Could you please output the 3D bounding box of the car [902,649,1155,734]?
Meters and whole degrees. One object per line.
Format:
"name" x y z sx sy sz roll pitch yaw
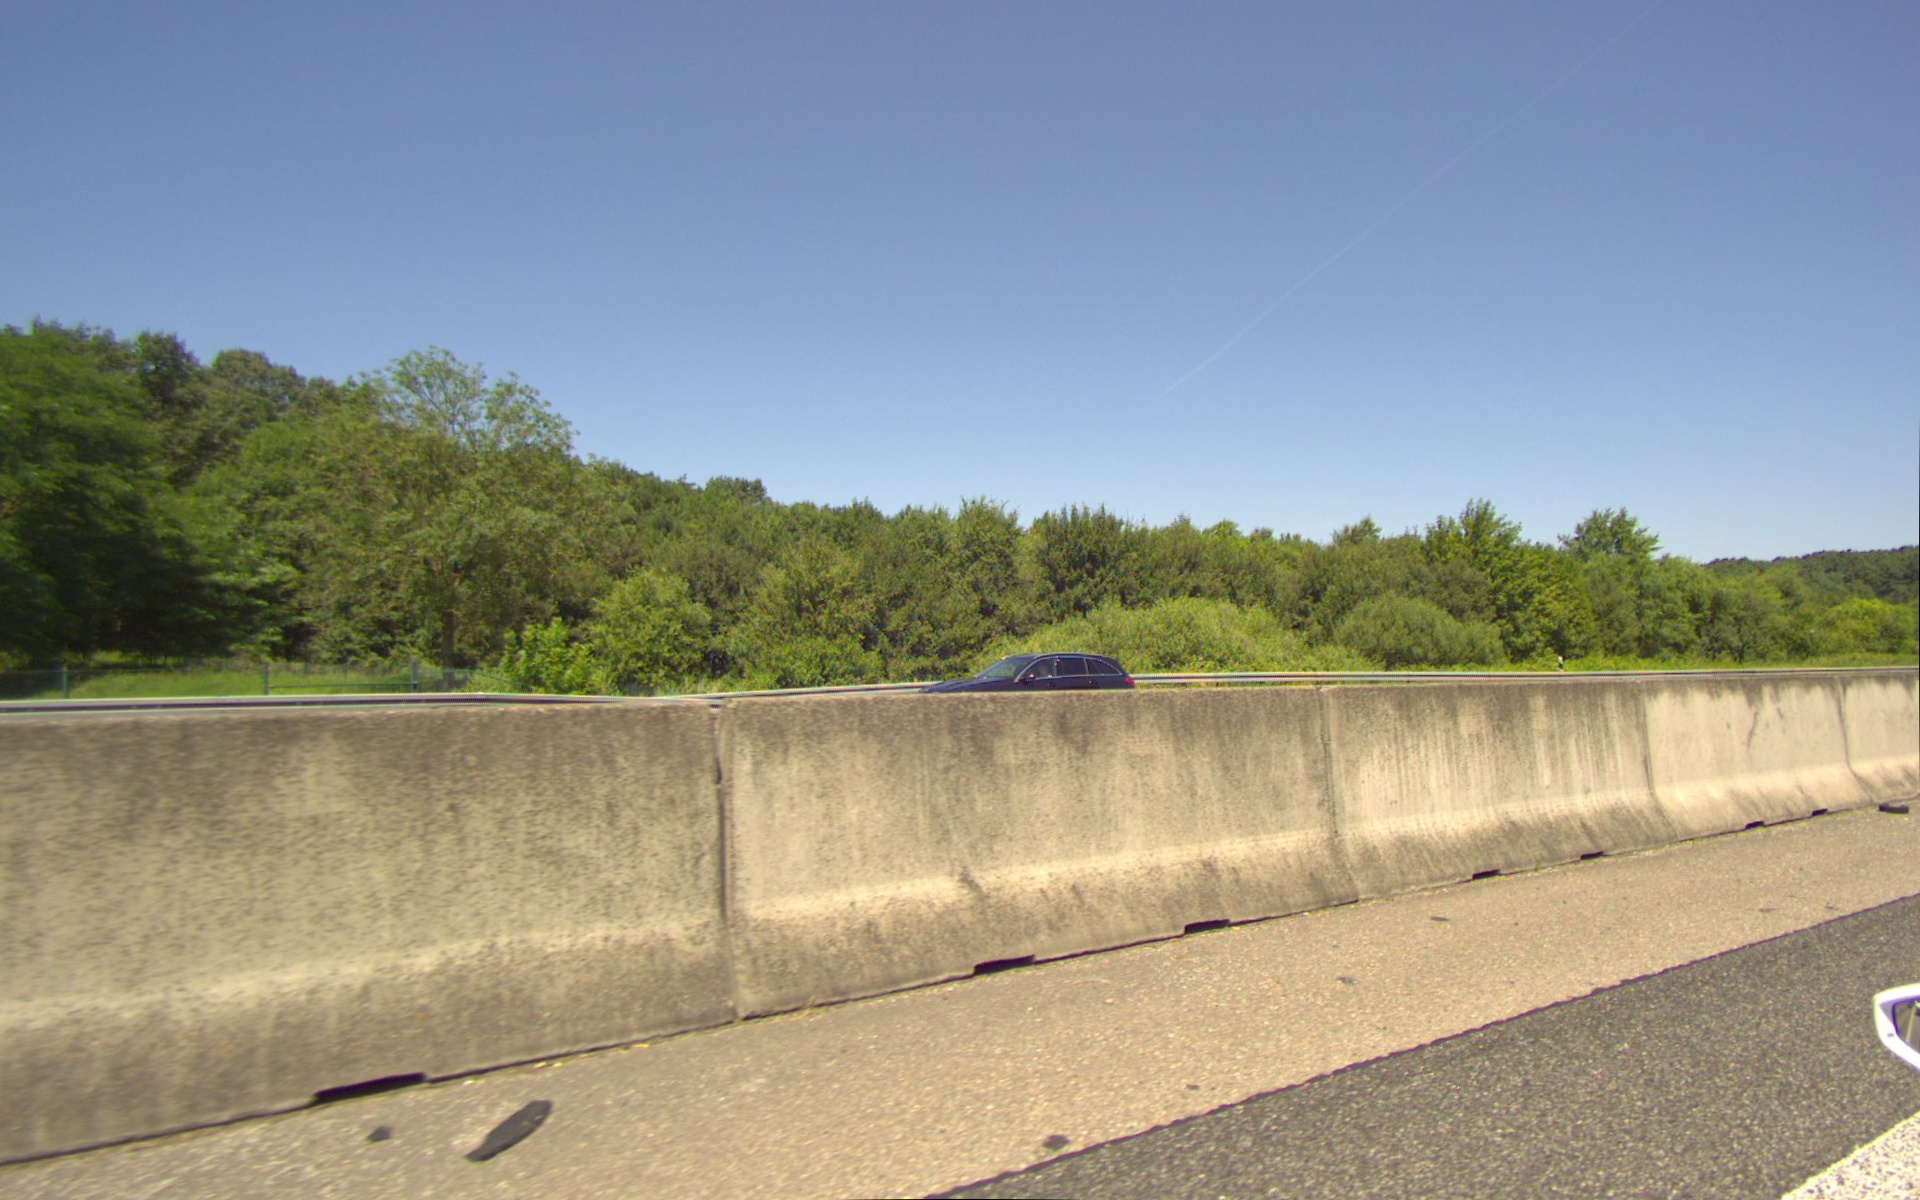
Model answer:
"car" 1.391 1.736 19.821 4.768 1.498 1.900 2 -4 -30
